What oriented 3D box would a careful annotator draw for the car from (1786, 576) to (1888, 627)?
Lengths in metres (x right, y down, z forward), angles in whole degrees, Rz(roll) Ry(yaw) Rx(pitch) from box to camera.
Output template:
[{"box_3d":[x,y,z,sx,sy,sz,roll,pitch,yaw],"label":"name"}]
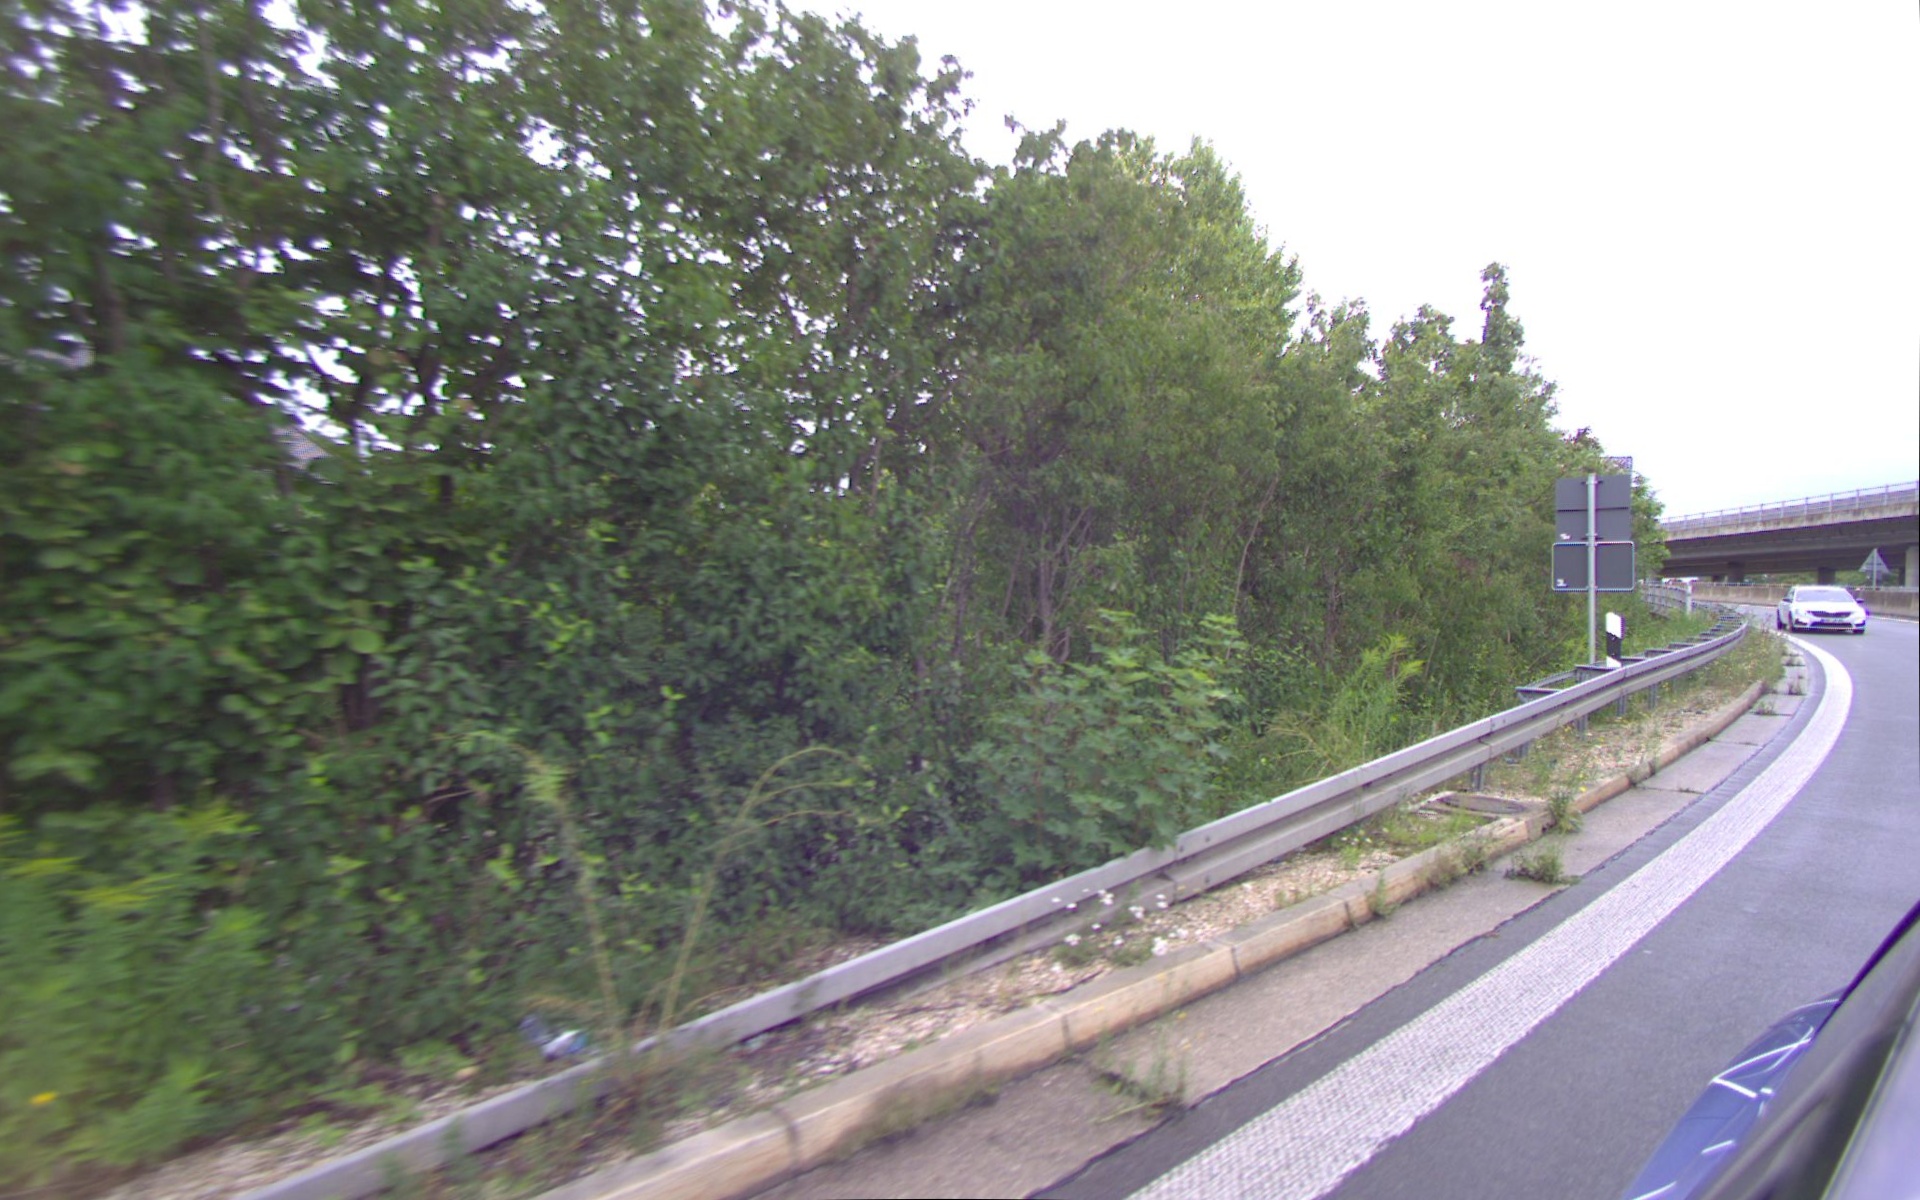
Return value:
[{"box_3d":[27.624,-0.017,32.018,1.903,1.465,4.501,1,2,34],"label":"car"}]
